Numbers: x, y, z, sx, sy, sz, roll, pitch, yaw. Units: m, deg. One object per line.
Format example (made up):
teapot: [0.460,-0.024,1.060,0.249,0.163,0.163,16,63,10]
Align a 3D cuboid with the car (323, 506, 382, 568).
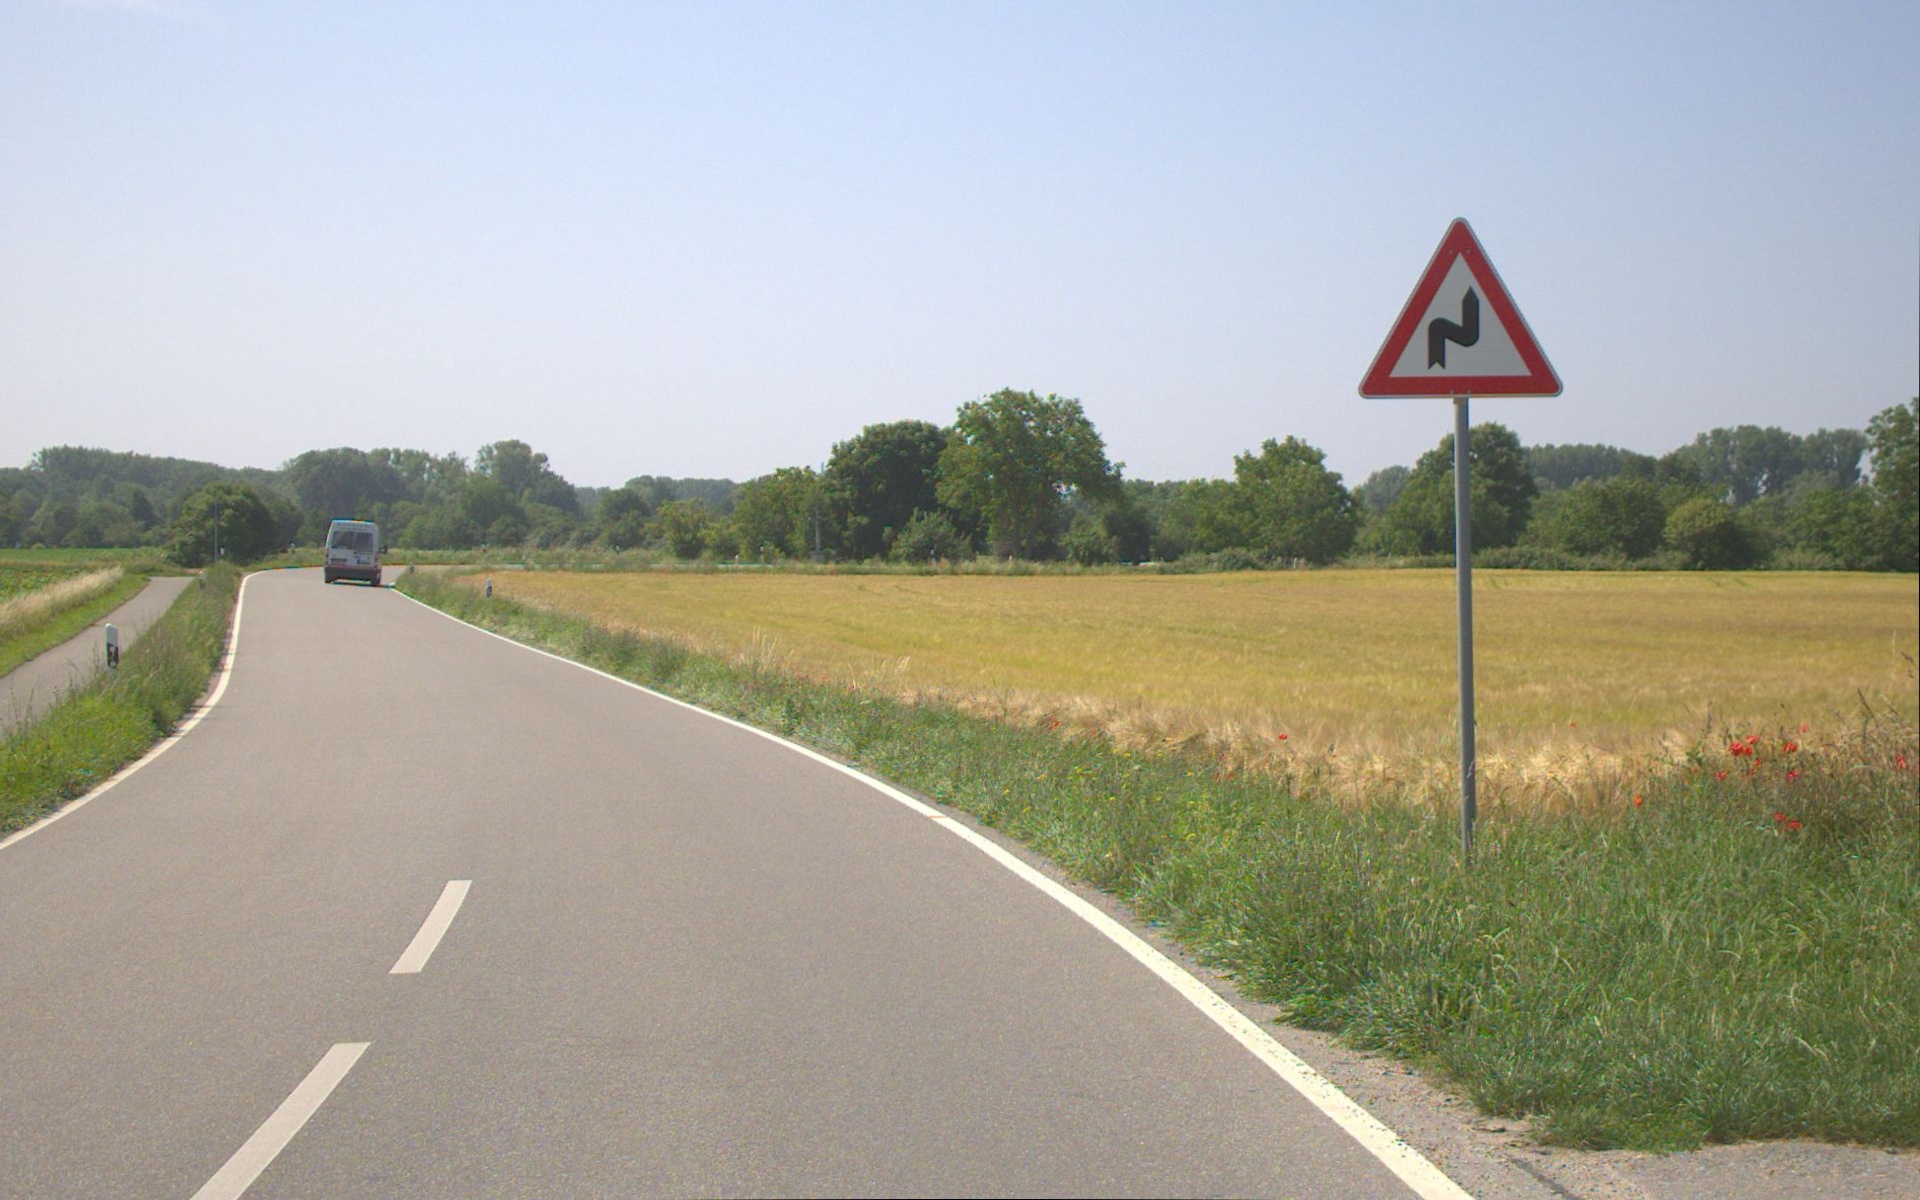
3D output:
car: [-23.761,-2.476,134.513,2.103,2.359,5.688,0,1,-8]
